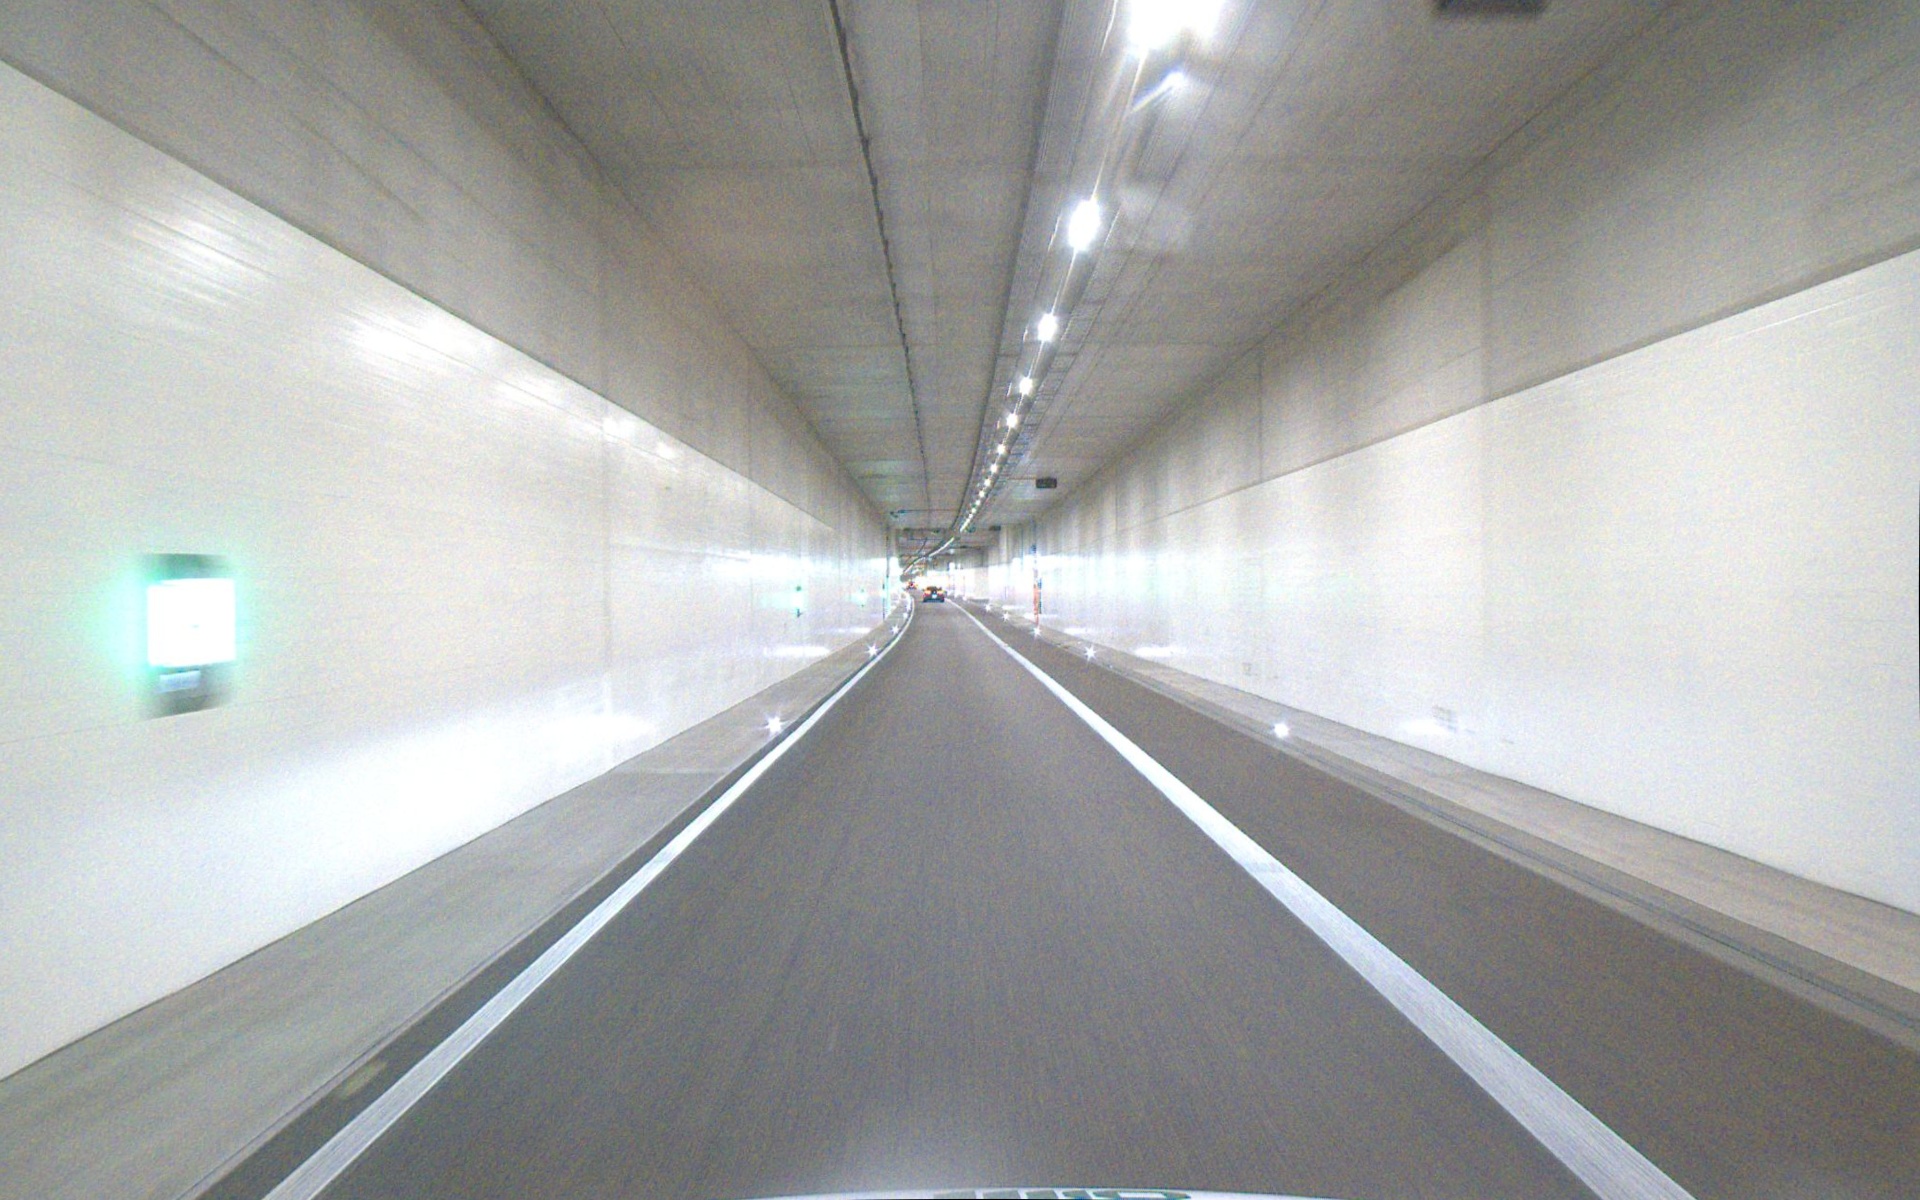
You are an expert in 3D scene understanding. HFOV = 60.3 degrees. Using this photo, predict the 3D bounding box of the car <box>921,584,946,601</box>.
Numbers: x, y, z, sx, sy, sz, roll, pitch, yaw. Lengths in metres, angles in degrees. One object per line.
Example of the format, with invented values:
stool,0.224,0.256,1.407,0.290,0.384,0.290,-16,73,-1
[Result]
car,-2.357,-0.665,145.885,1.954,1.445,3.998,3,0,-3
